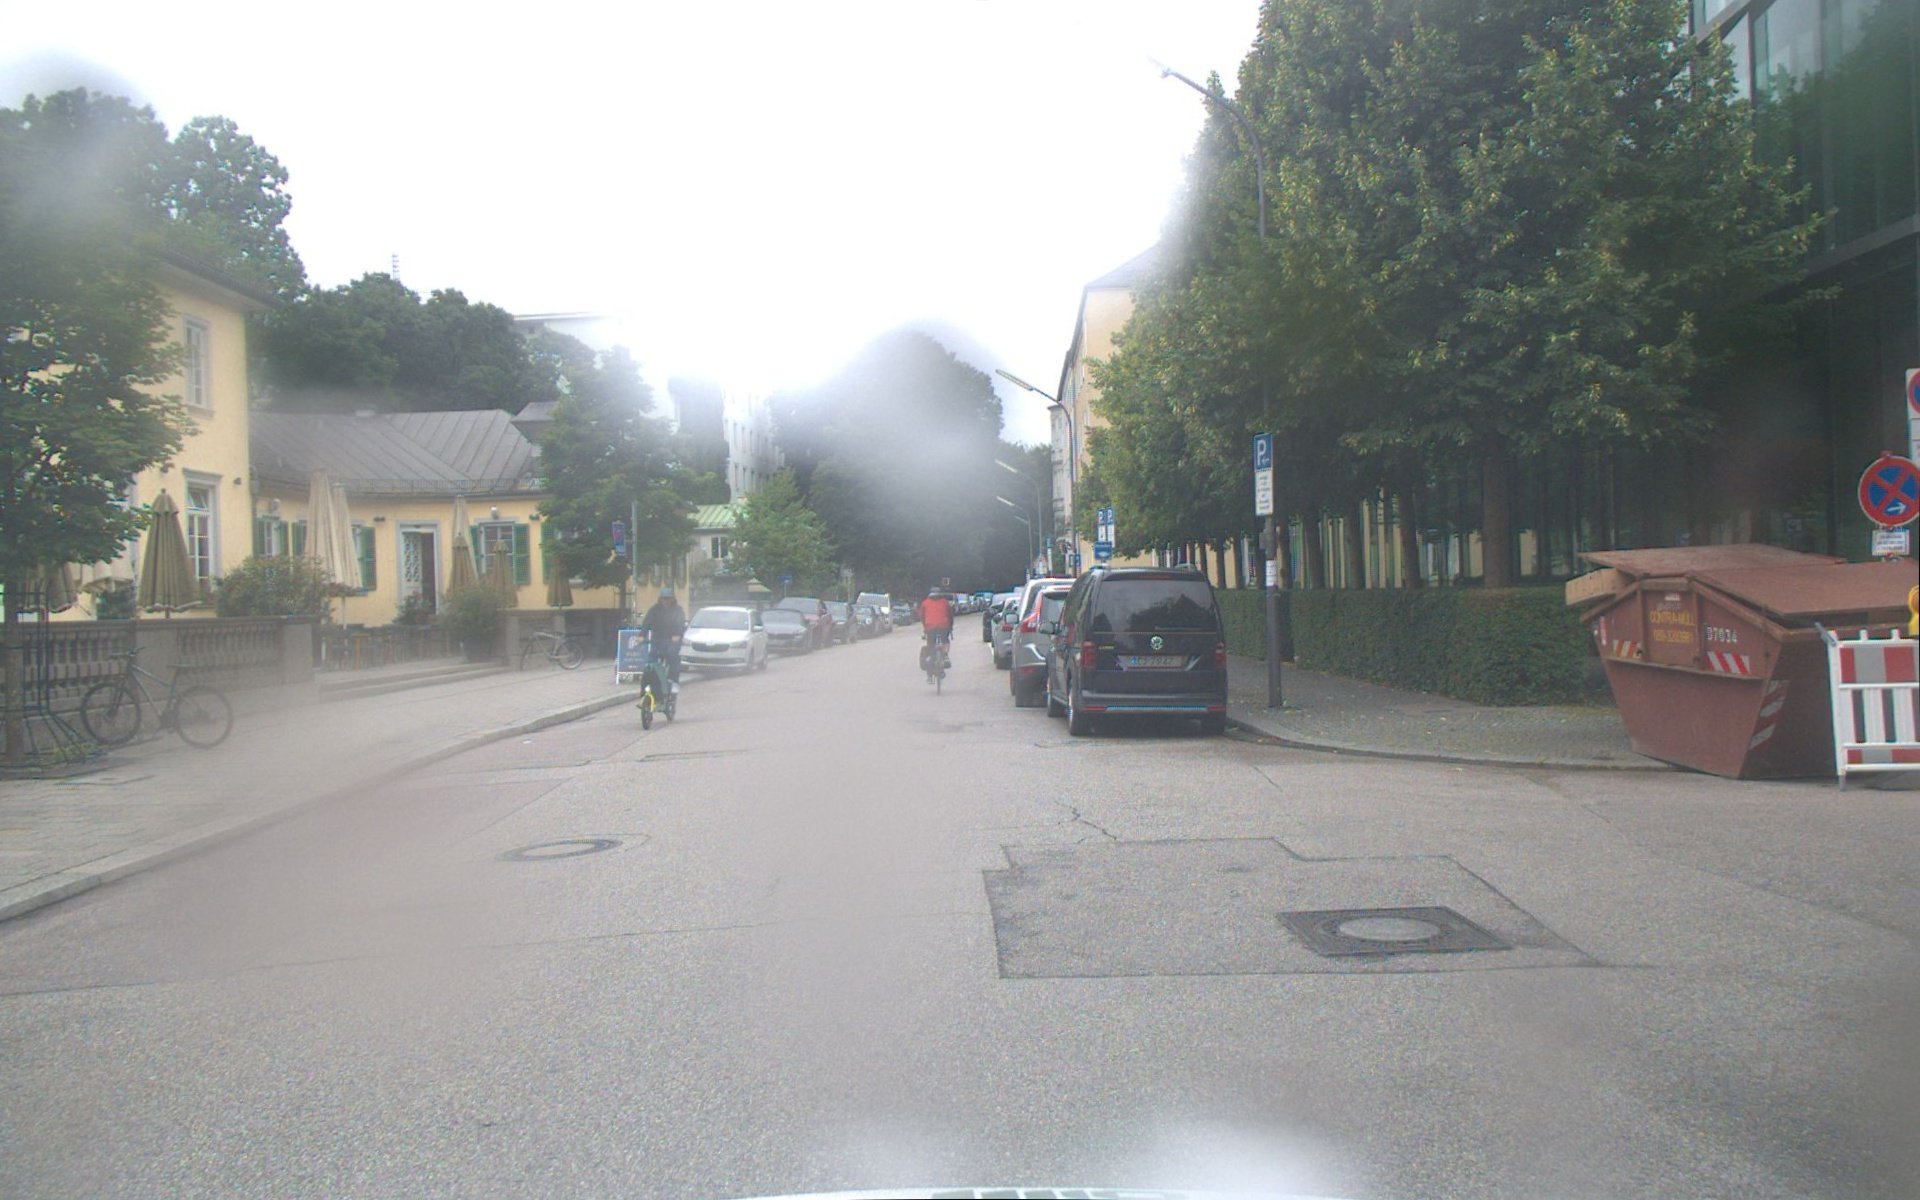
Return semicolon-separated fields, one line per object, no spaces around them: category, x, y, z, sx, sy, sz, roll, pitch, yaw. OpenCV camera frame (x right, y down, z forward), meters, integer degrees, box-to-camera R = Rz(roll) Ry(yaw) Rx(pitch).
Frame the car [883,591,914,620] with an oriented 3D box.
car;-3.914;0.320;105.002;1.773;1.712;4.000;-2;0;0

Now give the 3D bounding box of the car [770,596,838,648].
car;-5.207;0.720;55.562;1.953;1.631;3.999;-2;-1;-1

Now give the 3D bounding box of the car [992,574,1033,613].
car;2.918;-0.358;93.312;1.953;2.096;4.622;-1;0;-2

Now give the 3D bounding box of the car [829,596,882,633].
car;-4.612;0.607;73.605;1.952;1.512;4.001;-2;0;2

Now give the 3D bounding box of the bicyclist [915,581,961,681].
bicyclist;-0.339;0.491;26.252;0.658;1.524;1.095;-2;-1;0

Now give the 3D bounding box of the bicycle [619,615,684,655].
bicycle;-8.306;0.946;44.535;1.595;1.022;0.618;-2;-1;-29

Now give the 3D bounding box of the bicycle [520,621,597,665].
bicycle;-9.163;0.987;37.783;1.595;0.942;0.646;-2;-1;-28

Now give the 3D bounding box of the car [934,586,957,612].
car;-1.227;-0.105;142.849;1.953;2.135;4.000;1;0;0

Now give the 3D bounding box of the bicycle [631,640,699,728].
bicycle;-3.908;1.086;22.004;0.609;1.021;2.139;-2;0;-3

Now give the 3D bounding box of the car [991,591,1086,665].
car;1.652;0.565;35.995;1.825;1.465;4.255;-1;0;0

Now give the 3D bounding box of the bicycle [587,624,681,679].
bicycle;-6.570;1.018;33.451;0.610;1.021;2.136;1;1;30

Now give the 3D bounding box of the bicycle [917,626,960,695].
bicycle;-0.323;0.945;26.257;0.609;1.022;2.140;-2;-1;0

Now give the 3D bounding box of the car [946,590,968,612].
car;-0.240;0.095;154.567;1.952;2.049;4.000;1;-1;1

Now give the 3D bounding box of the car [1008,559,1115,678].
car;1.803;0.293;30.466;1.713;1.977;4.228;-2;0;1

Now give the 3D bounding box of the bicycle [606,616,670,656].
bicycle;-8.903;0.996;45.702;1.602;1.021;0.615;-3;-1;-38

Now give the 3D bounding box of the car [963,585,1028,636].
car;1.180;0.330;56.462;1.953;1.646;3.998;-1;0;-2

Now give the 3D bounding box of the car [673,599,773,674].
car;-5.386;0.796;38.022;1.698;1.609;3.788;1;0;0

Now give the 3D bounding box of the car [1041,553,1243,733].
car;2.019;0.433;19.439;1.725;1.855;4.137;-1;0;-2

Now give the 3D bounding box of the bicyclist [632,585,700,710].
bicyclist;-3.922;0.620;22.121;0.728;1.603;0.976;-2;0;-4

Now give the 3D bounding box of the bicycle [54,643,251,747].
bicycle;-8.985;1.054;18.436;1.891;1.118;0.615;0;0;0

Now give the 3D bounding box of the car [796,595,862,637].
car;-4.933;0.591;62.706;1.952;1.512;4.002;0;1;3

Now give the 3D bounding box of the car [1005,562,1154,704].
car;1.650;0.418;24.249;1.825;1.825;4.510;-2;0;0

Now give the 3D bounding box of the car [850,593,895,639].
car;-4.326;0.761;82.207;1.953;2.116;4.000;-2;0;0

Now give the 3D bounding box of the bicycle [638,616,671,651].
bicycle;-9.147;1.001;49.575;0.608;1.022;1.619;-1;-1;3

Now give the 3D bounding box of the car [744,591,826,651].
car;-5.298;0.609;50.624;1.953;1.677;4.655;-2;0;0
